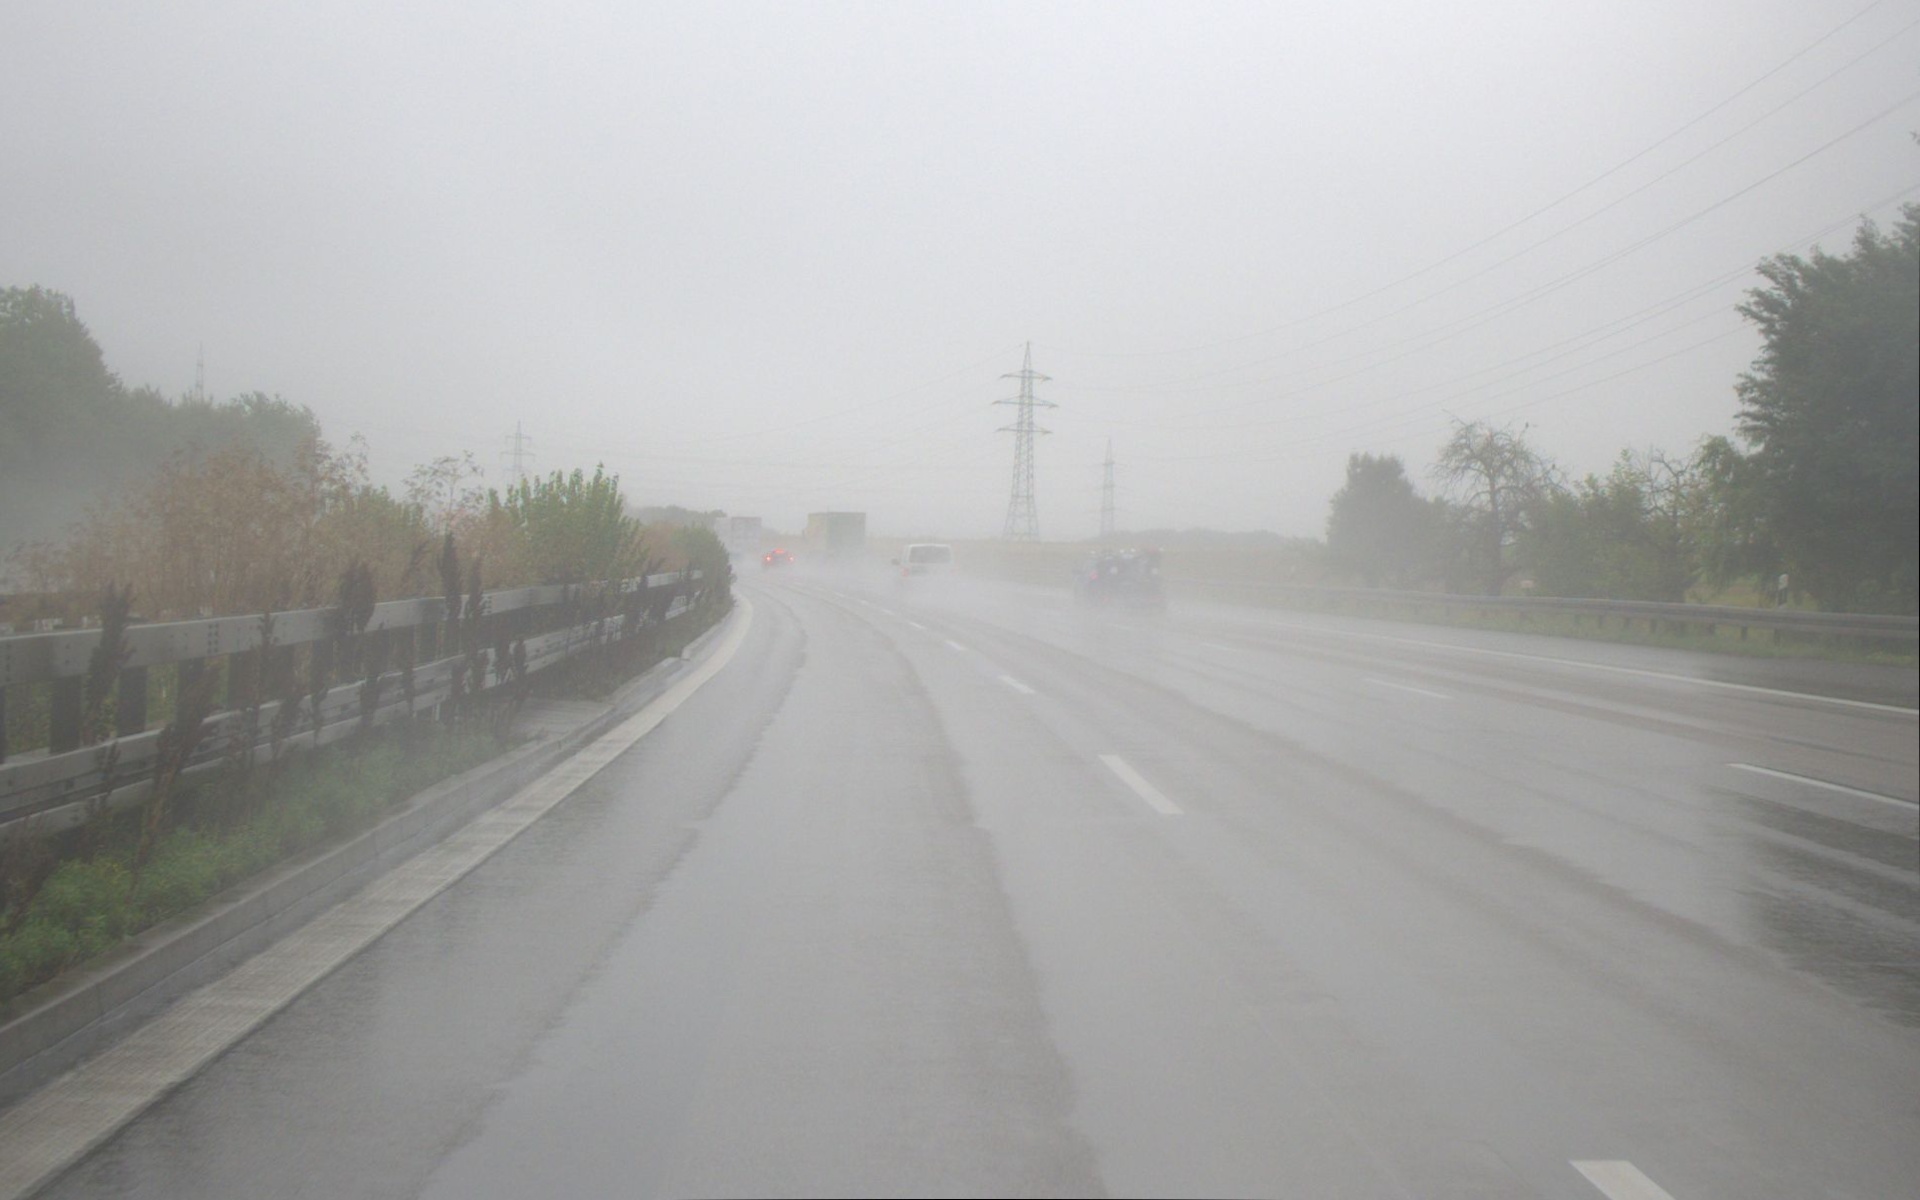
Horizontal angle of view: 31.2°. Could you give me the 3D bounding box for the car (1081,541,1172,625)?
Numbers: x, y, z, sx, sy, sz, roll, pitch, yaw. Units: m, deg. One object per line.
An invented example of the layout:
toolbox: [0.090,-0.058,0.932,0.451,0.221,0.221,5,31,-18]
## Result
car: [4.418,-0.479,91.855,1.806,2.151,4.001,1,1,-6]

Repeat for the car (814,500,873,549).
car: [-7.822,-5.025,229.983,3.199,3.182,7.259,1,1,-8]
